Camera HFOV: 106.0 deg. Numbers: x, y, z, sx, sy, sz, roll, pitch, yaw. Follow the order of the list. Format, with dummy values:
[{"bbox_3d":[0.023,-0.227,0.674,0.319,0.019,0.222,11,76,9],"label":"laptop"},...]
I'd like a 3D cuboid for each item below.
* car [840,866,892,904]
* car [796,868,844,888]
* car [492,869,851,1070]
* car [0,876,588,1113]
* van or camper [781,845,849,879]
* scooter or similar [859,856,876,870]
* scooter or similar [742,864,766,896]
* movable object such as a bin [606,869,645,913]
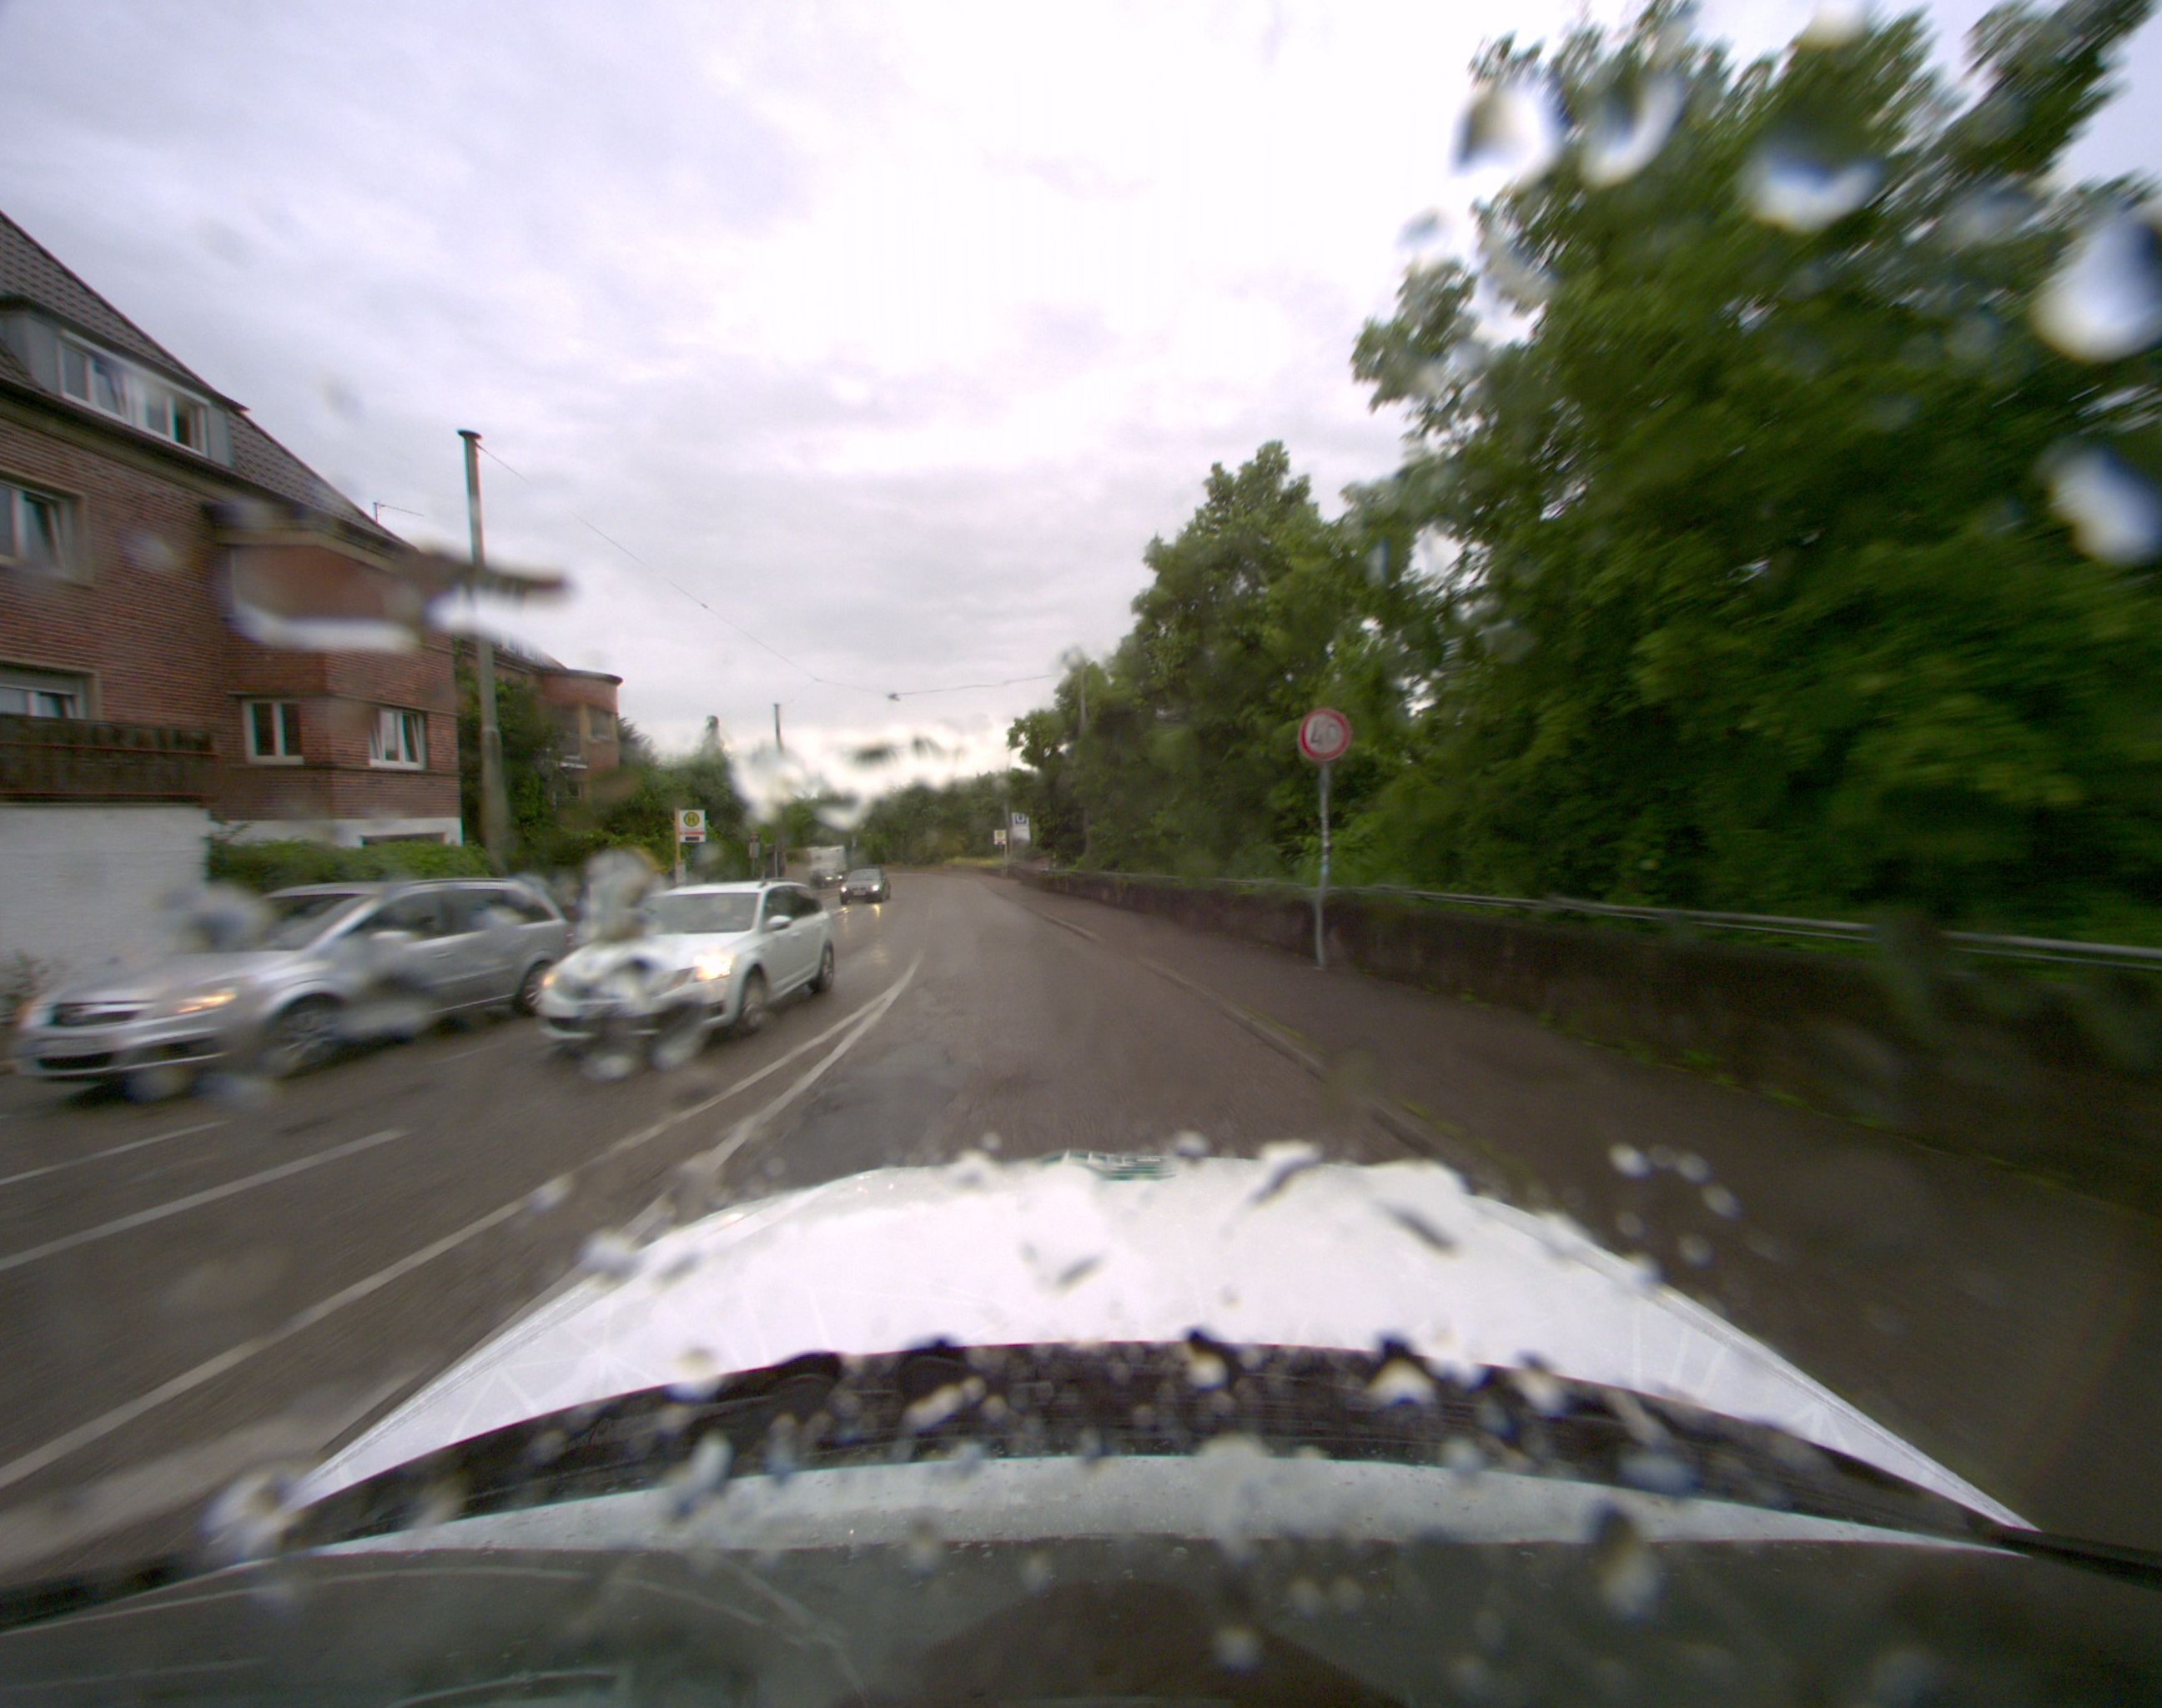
[{"bbox_3d":[-9.656,1.358,36.808,1.737,1.450,4.600,-3,0,-9],"label":"car"},{"bbox_3d":[-22.215,2.073,69.351,3.923,1.520,1.785,-3,1,33],"label":"car"},{"bbox_3d":[-4.000,0.988,8.949,1.844,1.474,4.435,-4,0,-4],"label":"car"},{"bbox_3d":[-7.082,1.058,8.012,1.705,1.585,4.460,-1,-1,1],"label":"car"},{"bbox_3d":[-27.308,0.809,83.576,6.207,2.942,2.411,-3,5,20],"label":"van or camper"},{"bbox_3d":[-22.084,0.959,84.236,1.689,1.282,0.454,-4,2,21],"label":"scooter or similar"},{"bbox_3d":[-13.146,1.035,32.795,0.522,1.203,1.430,-4,1,-10],"label":"scooter or similar"},{"bbox_3d":[-12.039,0.969,21.545,0.624,1.081,0.758,2,1,-8],"label":"movable object such as a bin"}]
